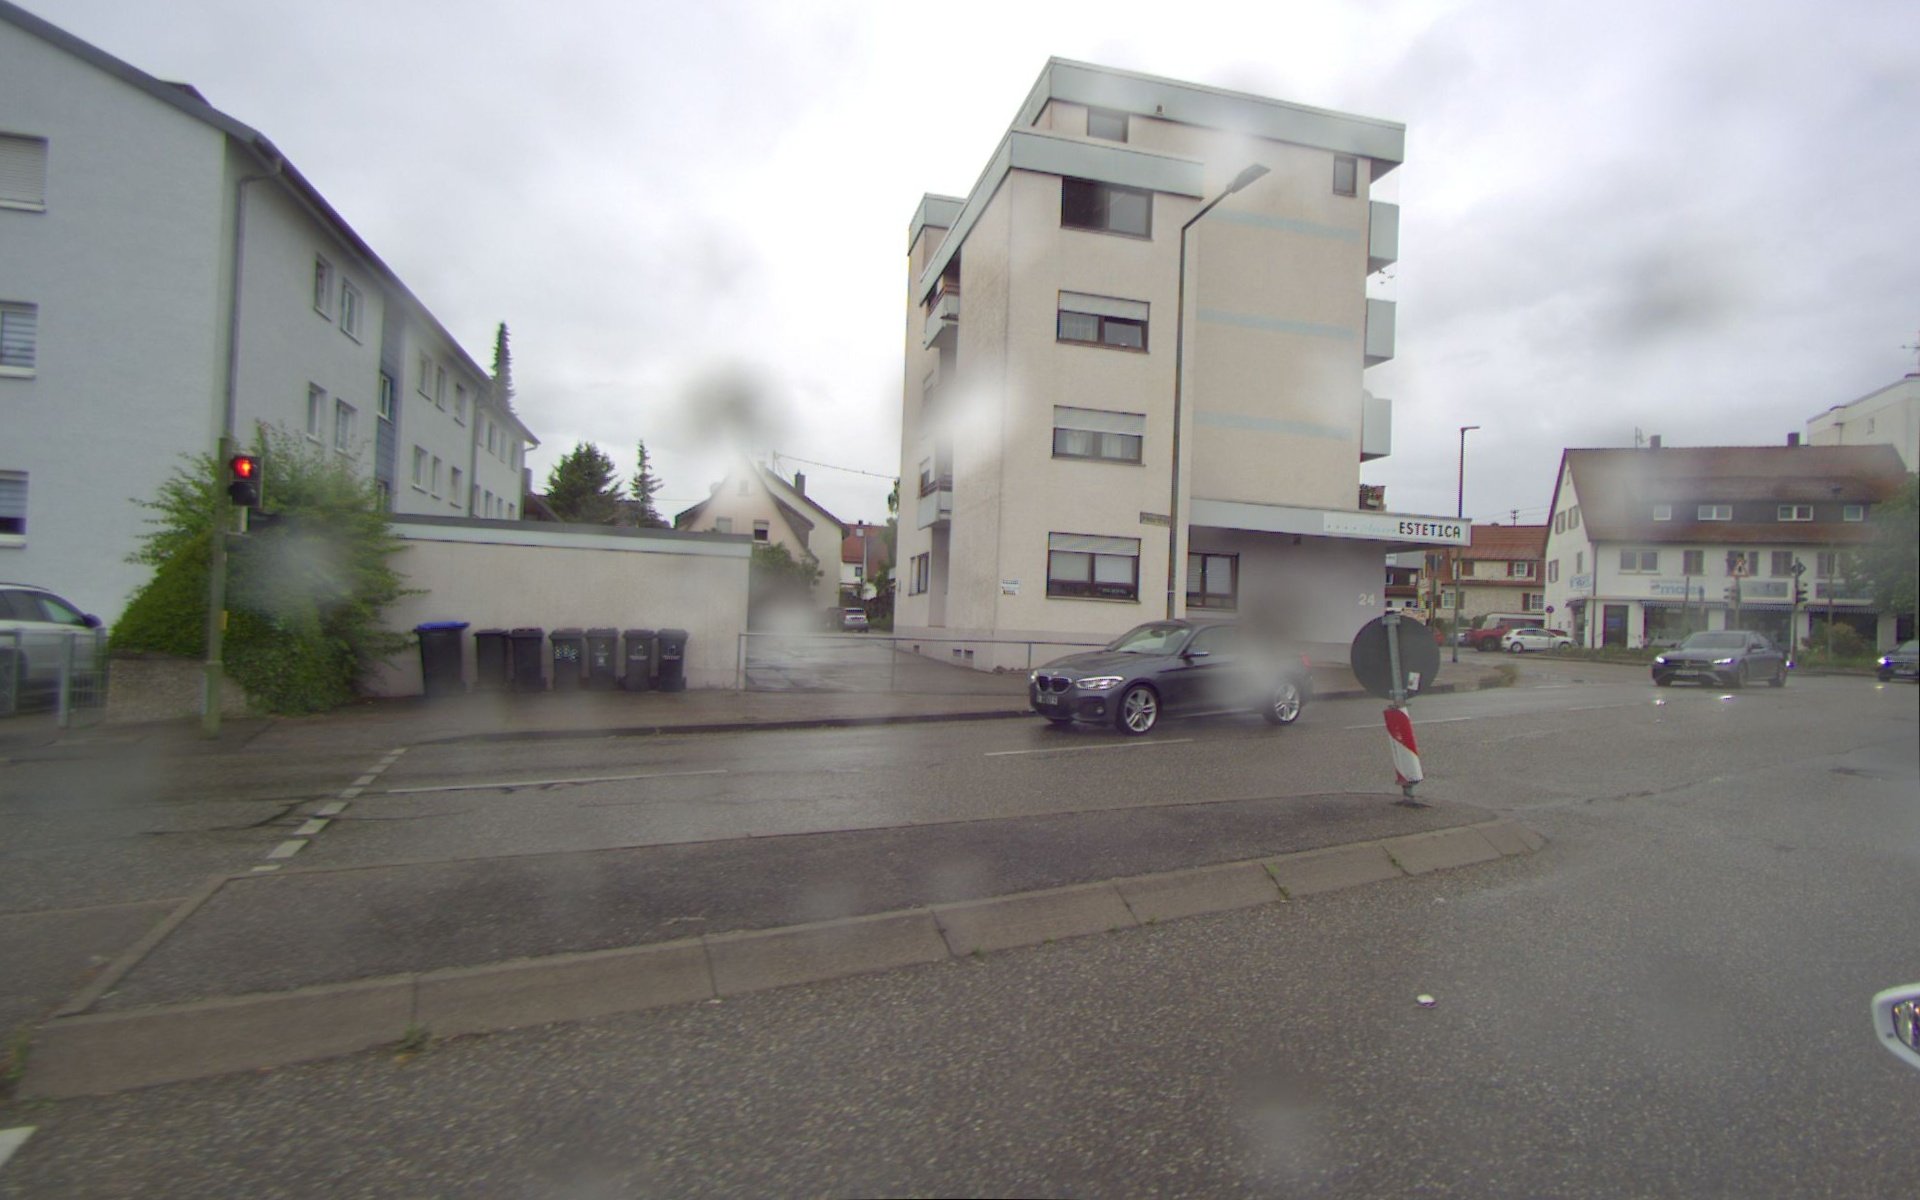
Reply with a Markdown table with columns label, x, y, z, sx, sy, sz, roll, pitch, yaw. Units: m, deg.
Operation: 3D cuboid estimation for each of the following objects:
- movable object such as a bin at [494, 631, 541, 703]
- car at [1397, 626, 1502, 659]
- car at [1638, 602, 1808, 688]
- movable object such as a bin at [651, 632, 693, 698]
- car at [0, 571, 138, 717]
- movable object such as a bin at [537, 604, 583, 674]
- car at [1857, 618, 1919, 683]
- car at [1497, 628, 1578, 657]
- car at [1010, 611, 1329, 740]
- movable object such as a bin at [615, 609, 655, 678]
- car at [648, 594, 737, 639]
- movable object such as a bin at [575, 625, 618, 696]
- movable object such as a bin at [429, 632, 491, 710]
| label | x | y | z | sx | sy | sz | roll | pitch | yaw |
| --- | --- | --- | --- | --- | --- | --- | --- | --- | --- |
| movable object such as a bin | -6.471 | 0.976 | 14.699 | 0.526 | 0.974 | 0.499 | 3 | 3 | -15 |
| car | 31.340 | 2.686 | 64.495 | 5.734 | 1.866 | 2.001 | 2 | -1 | 15 |
| car | 20.298 | 1.191 | 26.620 | 5.925 | 2.040 | 2.075 | 2 | -3 | -37 |
| movable object such as a bin | -4.399 | 0.992 | 15.355 | 0.591 | 0.974 | 0.499 | 1 | -1 | -15 |
| car | -12.988 | 0.524 | 13.358 | 1.800 | 1.773 | 3.984 | 2 | -1 | -18 |
| movable object such as a bin | -5.924 | 0.568 | 14.884 | 0.526 | 0.974 | 0.499 | 3 | 3 | -15 |
| car | 32.124 | 1.686 | 33.424 | 4.594 | 2.040 | 1.985 | 2 | -1 | -29 |
| car | 34.845 | 2.525 | 60.725 | 3.922 | 1.546 | 2.000 | 2 | -1 | 22 |
| car | 2.889 | 0.958 | 13.637 | 4.114 | 1.492 | 1.779 | 2 | -1 | -30 |
| movable object such as a bin | -4.902 | 0.649 | 15.173 | 0.526 | 0.974 | 0.499 | 2 | 3 | -15 |
| car | -13.016 | 0.801 | 49.154 | 3.926 | 2.040 | 1.998 | 1 | -1 | -8 |
| movable object such as a bin | -5.435 | 0.900 | 15.030 | 0.526 | 0.974 | 0.499 | 3 | 3 | -15 |
| movable object such as a bin | -7.195 | 1.019 | 14.473 | 0.676 | 1.032 | 0.499 | 3 | 3 | -15 |
